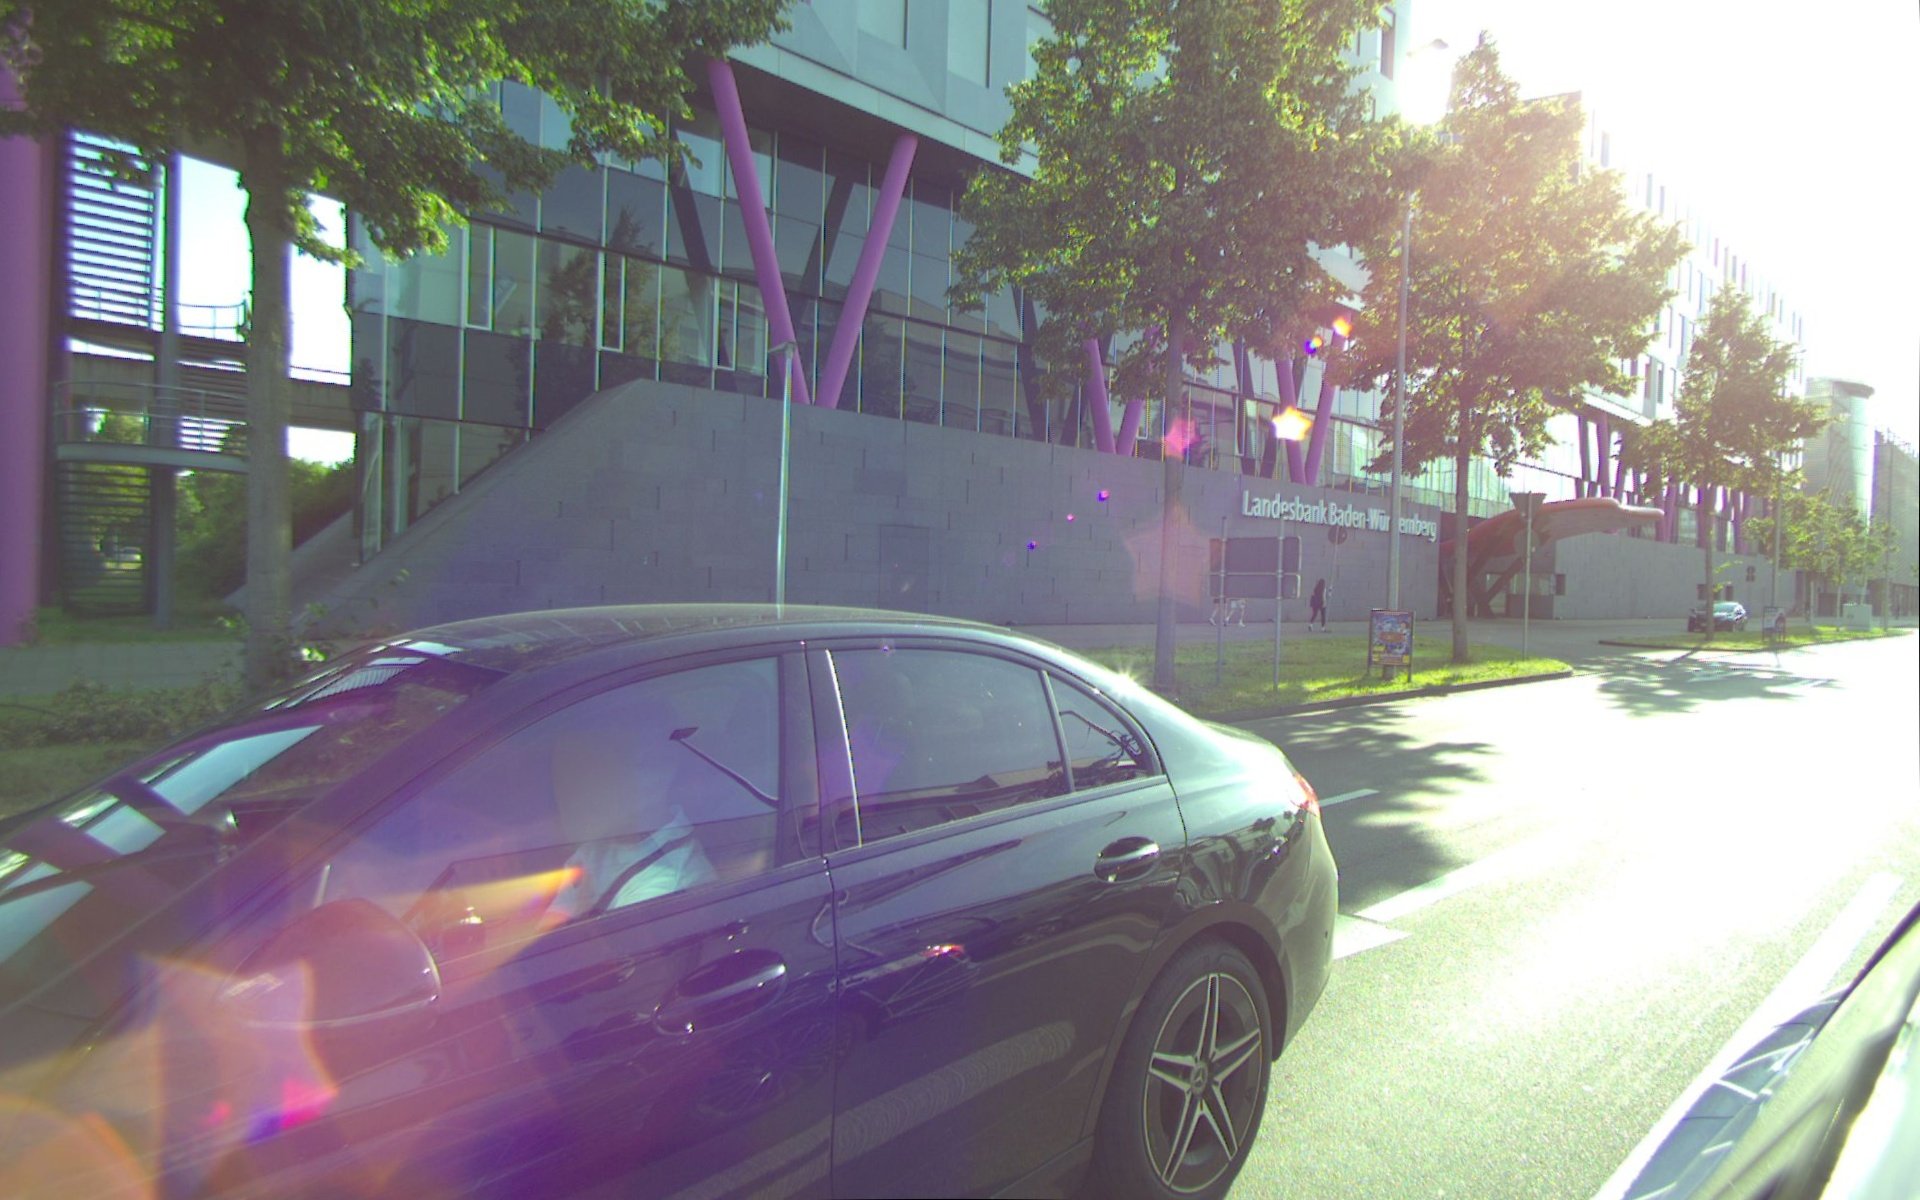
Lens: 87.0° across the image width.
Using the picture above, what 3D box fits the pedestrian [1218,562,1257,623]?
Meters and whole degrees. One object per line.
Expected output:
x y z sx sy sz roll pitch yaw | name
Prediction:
8.547 -0.248 31.183 0.829 1.815 0.756 1 3 -41 | pedestrian

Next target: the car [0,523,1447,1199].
-0.920 0.652 2.225 4.473 1.468 1.843 1 0 -39 | car

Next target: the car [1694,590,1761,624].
34.833 0.319 45.892 4.126 1.407 1.694 1 1 -42 | car

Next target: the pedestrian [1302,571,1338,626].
11.083 -0.048 31.162 0.724 1.659 0.695 2 1 -41 | pedestrian

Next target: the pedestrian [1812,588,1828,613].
63.043 0.012 74.188 0.758 1.808 0.725 0 1 -41 | pedestrian

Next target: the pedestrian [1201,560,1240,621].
8.122 -0.294 31.538 0.838 1.847 0.769 1 3 -41 | pedestrian
